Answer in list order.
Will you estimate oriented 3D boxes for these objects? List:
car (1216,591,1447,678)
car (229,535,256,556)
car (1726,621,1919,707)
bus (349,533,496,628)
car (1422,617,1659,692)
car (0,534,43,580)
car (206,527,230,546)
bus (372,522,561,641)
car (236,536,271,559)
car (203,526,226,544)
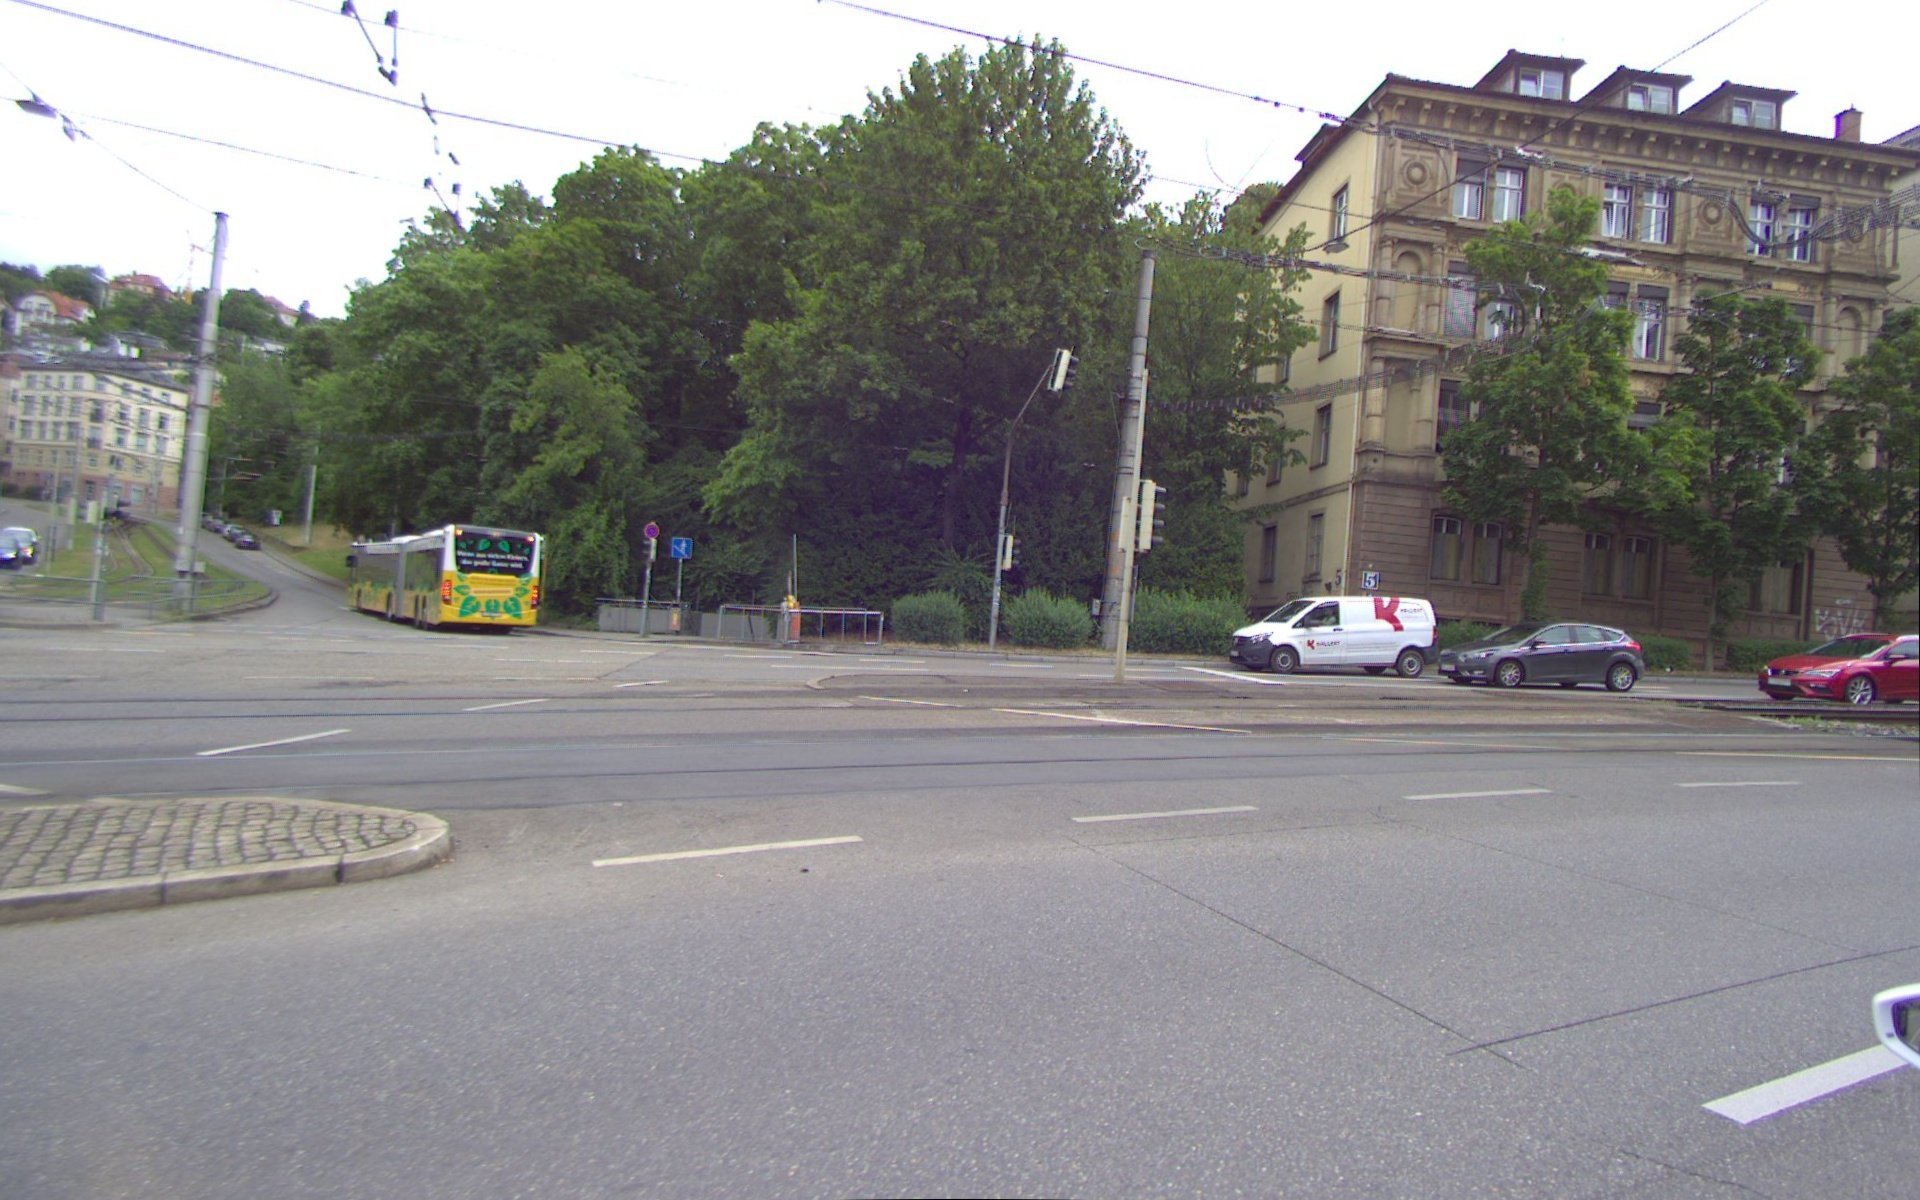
[{"bbox_3d":[9.011,0.847,24.613,4.899,1.874,1.999,2,-1,-5],"label":"car"},{"bbox_3d":[-71.264,-5.391,99.779,1.983,1.862,3.955,2,1,-38],"label":"car"},{"bbox_3d":[18.553,1.309,20.574,4.323,1.539,1.998,2,0,-6],"label":"car"},{"bbox_3d":[-20.769,-0.734,38.319,3.293,3.084,11.242,1,0,-37],"label":"bus"},{"bbox_3d":[12.754,1.179,22.196,4.323,1.446,1.746,2,-1,-6],"label":"car"},{"bbox_3d":[-44.128,-2.005,46.618,1.983,2.040,3.955,2,1,-39],"label":"car"},{"bbox_3d":[-82.097,-7.044,111.060,1.983,1.862,3.955,2,1,-38],"label":"car"},{"bbox_3d":[-15.896,-0.567,31.661,3.358,3.070,11.428,1,0,-36],"label":"bus"},{"bbox_3d":[-64.883,-4.795,92.196,2.408,1.862,3.955,2,1,-38],"label":"car"},{"bbox_3d":[-87.939,-7.662,118.488,1.983,1.862,3.955,2,1,-38],"label":"car"}]
